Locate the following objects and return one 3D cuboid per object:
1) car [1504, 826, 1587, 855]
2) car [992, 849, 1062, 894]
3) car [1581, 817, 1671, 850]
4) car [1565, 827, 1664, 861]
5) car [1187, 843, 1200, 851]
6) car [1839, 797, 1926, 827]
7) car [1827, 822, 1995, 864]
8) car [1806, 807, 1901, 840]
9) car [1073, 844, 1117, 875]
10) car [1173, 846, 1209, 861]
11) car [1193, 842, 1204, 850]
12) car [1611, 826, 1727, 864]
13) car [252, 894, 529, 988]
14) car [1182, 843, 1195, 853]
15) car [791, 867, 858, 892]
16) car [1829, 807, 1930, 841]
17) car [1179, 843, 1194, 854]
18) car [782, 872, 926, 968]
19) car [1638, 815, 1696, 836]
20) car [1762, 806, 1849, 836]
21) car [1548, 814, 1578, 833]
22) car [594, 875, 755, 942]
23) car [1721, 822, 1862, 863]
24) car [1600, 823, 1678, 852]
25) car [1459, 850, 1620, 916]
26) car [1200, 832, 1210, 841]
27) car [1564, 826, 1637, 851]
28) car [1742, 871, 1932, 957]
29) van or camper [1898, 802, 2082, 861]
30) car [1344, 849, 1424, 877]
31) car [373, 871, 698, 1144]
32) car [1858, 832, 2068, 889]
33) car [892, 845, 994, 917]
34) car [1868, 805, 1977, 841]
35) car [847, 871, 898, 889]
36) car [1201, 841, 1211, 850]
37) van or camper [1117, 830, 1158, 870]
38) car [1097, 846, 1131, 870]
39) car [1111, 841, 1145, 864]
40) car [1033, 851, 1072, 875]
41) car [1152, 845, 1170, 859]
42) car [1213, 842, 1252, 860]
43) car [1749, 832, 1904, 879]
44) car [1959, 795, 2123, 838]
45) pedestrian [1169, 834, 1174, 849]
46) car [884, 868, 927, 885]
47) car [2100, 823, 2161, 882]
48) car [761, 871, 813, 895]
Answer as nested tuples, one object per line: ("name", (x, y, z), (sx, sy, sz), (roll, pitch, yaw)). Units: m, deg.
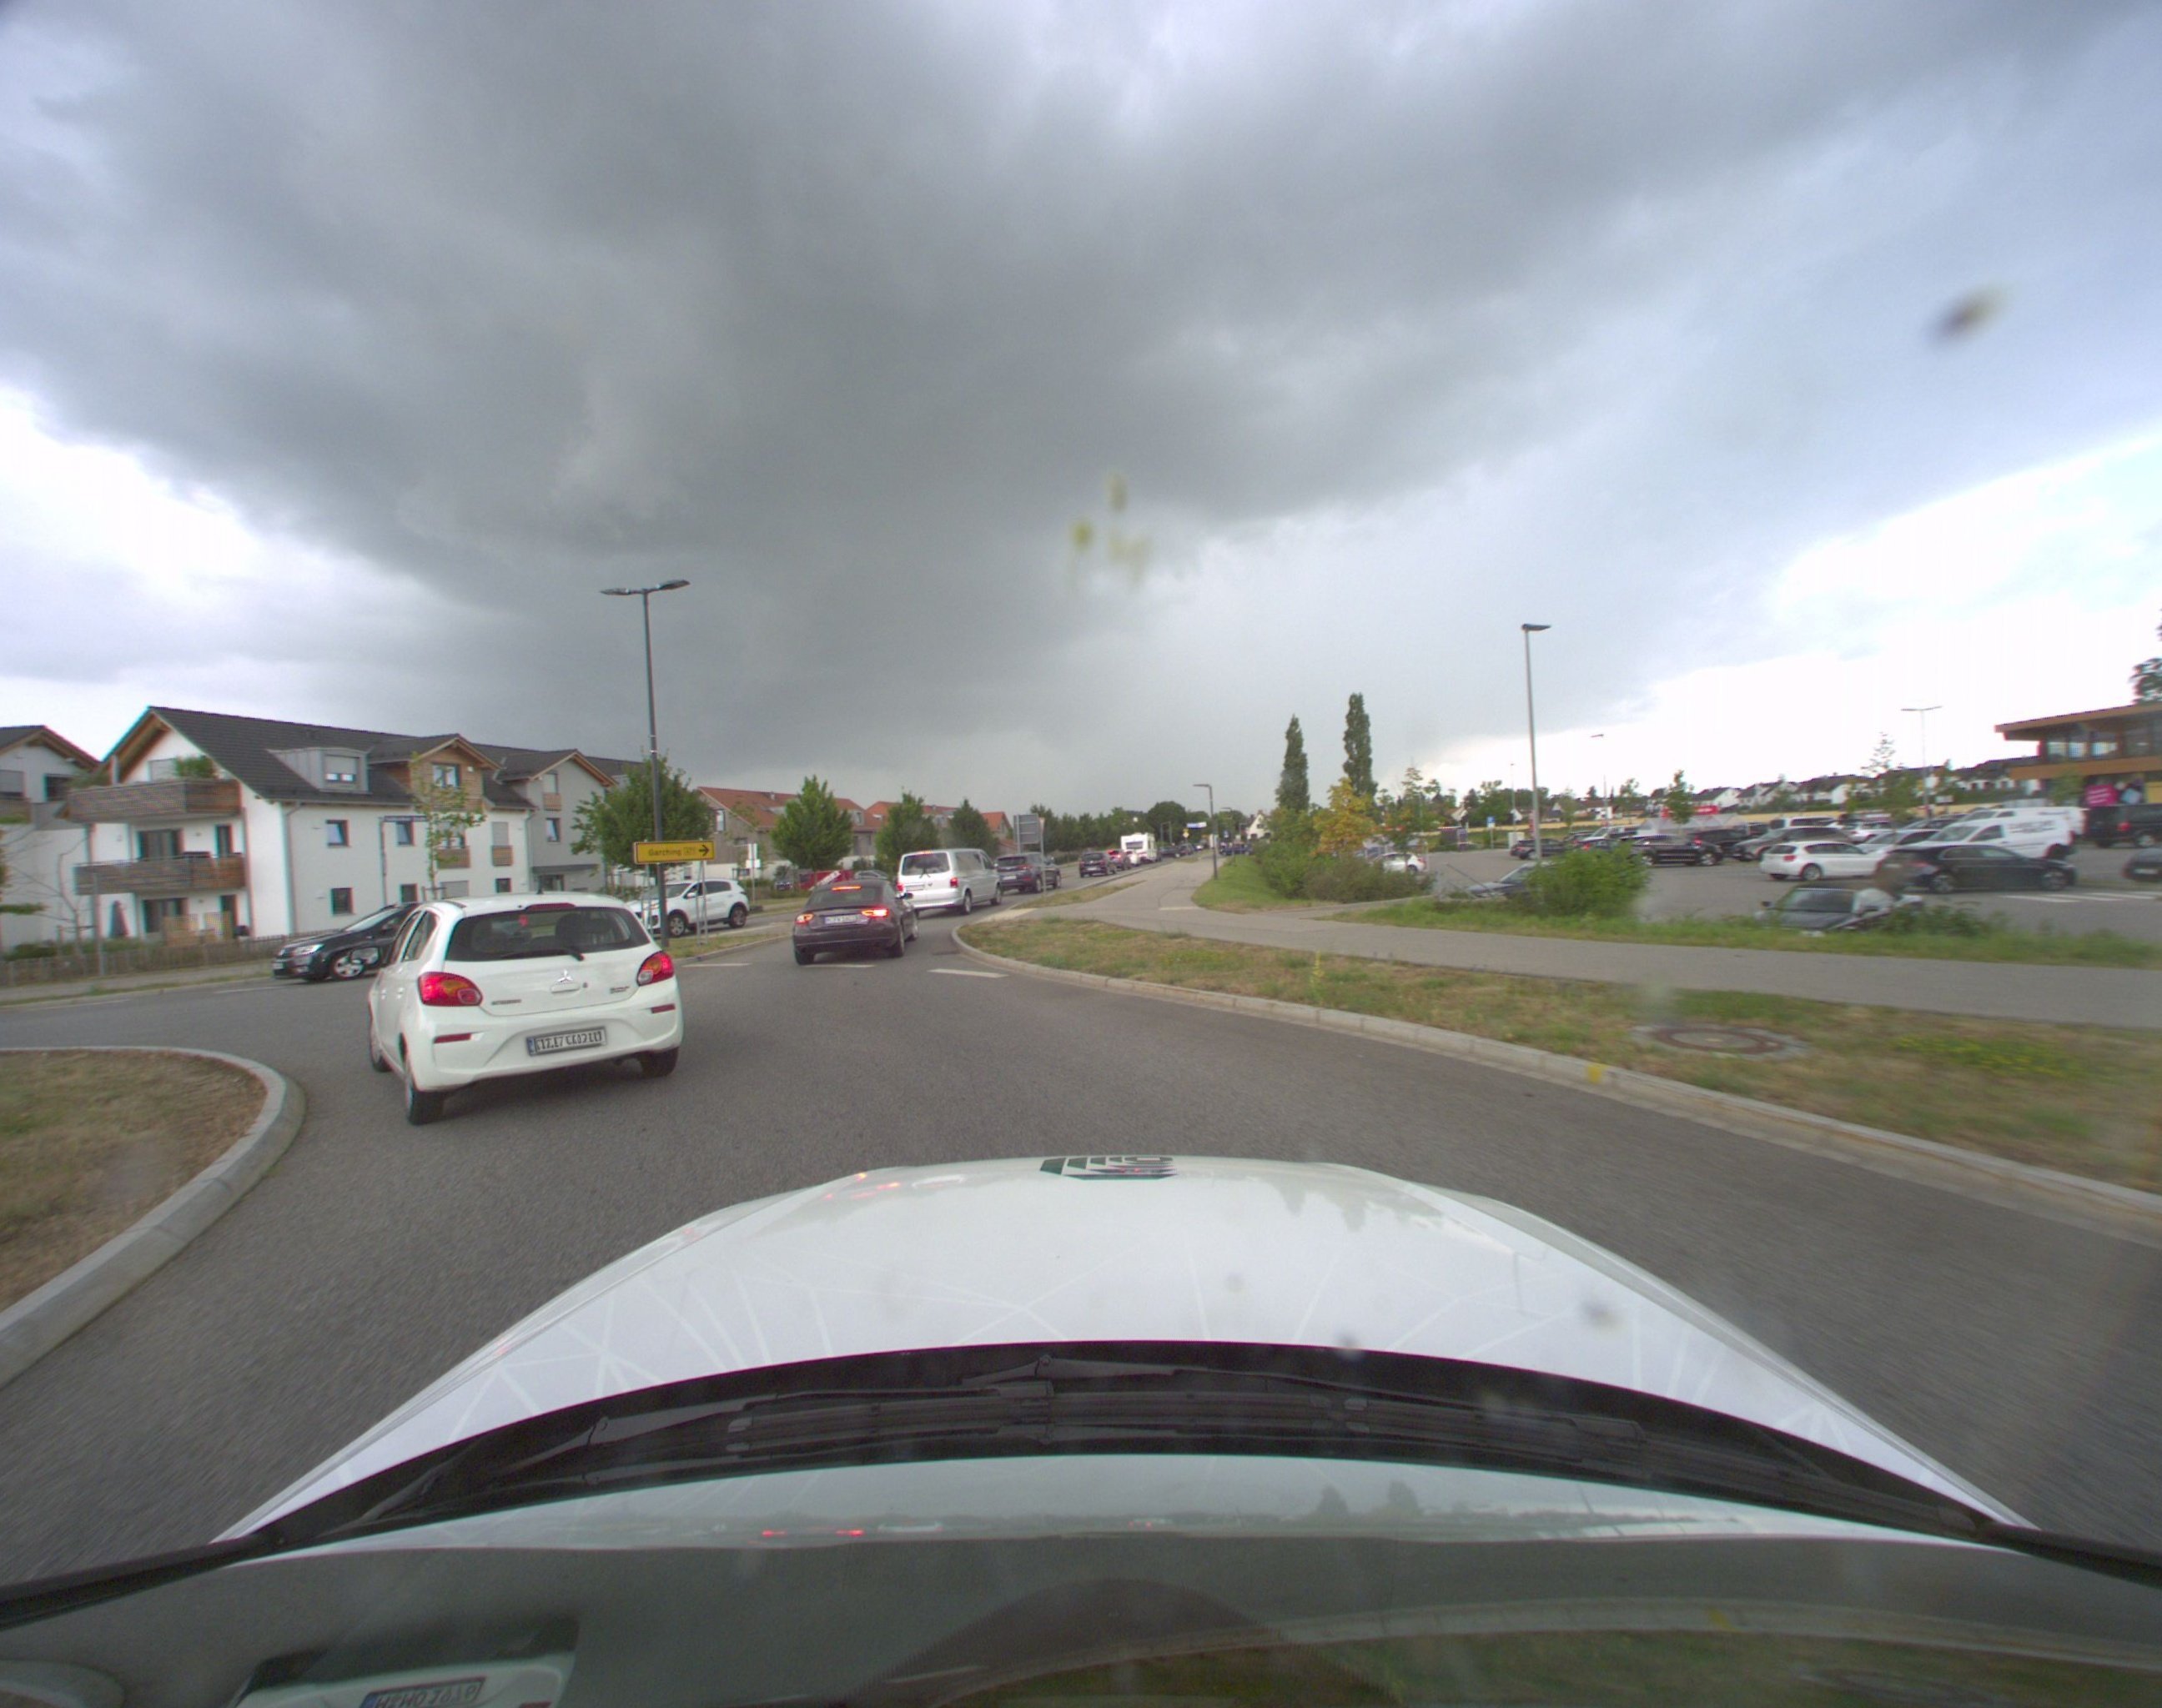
("car", (32.131, -0.917, 56.449), (4.527, 1.664, 2.006), (-3, 0, 11))
("car", (-2.165, 0.668, 33.705), (1.765, 1.618, 4.013), (-4, 0, 12))
("car", (39.301, -1.470, 58.822), (5.091, 2.013, 2.000), (-4, 1, 0))
("car", (31.098, -0.580, 47.607), (4.375, 1.664, 2.006), (-3, 0, 11))
("car", (19.474, -1.216, 140.946), (1.833, 1.436, 4.012), (-3, 0, 11))
("car", (57.716, -2.980, 58.718), (3.957, 1.840, 1.882), (-3, 0, 15))
("car", (35.163, -0.465, 34.641), (4.743, 1.484, 1.910), (-3, 0, 10))
("car", (50.540, -1.966, 53.369), (3.957, 1.838, 2.008), (-3, 0, 15))
("car", (0.893, 0.306, 47.469), (1.765, 1.618, 4.013), (-4, 0, 11))
("car", (12.597, -0.083, 93.318), (3.961, 1.618, 2.006), (-1, 1, 10))
("car", (22.943, -1.517, 159.217), (1.833, 1.436, 4.012), (-3, 0, 11))
("car", (29.928, -0.460, 41.579), (4.422, 1.706, 1.809), (-3, 0, 10))
("car", (-15.130, 1.846, 18.129), (1.751, 1.564, 4.306), (-5, -1, 30))
("car", (16.909, -1.000, 127.841), (1.833, 1.436, 4.012), (-3, 0, 11))
("car", (-19.940, 1.995, 63.446), (4.497, 1.680, 2.008), (-3, 0, 14))
("car", (49.751, -1.869, 50.821), (3.959, 1.838, 2.008), (-3, 0, 13))
("car", (15.184, -0.831, 117.527), (1.833, 1.436, 4.012), (-3, 0, 11))
("car", (-4.080, 1.114, 15.292), (1.781, 1.391, 4.125), (-3, 0, -5))
("car", (55.268, -2.700, 76.898), (3.957, 1.837, 2.008), (-1, 1, 15))
("car", (50.186, -2.267, 56.491), (3.958, 1.837, 2.008), (-3, 0, 14))
("car", (52.670, -3.316, 89.076), (1.978, 2.013, 4.019), (-1, 1, 18))
("car", (-12.024, 1.554, 24.483), (1.696, 1.626, 4.469), (-3, 0, 15))
("car", (35.396, -0.565, 40.726), (4.942, 1.664, 2.006), (-4, 0, 11))
("car", (38.051, -1.098, 55.613), (3.961, 1.706, 1.721), (-3, 0, 10))
("car", (14.091, 0.863, 25.178), (3.971, 1.606, 1.793), (-3, 5, 2))
("car", (31.732, -4.555, 208.868), (1.978, 2.211, 4.017), (-3, 0, 16))
("car", (39.166, -1.171, 61.490), (4.282, 1.578, 1.774), (-3, 0, 13))
("car", (15.225, 1.125, 16.380), (3.740, 1.372, 1.567), (-3, 0, -27))
("van or camper", (35.189, -0.829, 31.654), (4.764, 2.098, 1.769), (-1, 0, 7))
("car", (18.238, 0.535, 49.177), (4.205, 1.440, 2.006), (-3, 0, 11))
("car", (-4.528, 0.968, 6.554), (1.642, 1.519, 3.358), (-2, 0, -42))
("car", (25.998, 0.182, 24.128), (3.966, 1.398, 1.840), (-4, 0, 6))
("car", (-4.090, 0.750, 24.805), (1.857, 1.934, 4.008), (-3, 0, 7))
("car", (49.256, -1.790, 47.767), (3.957, 1.837, 2.008), (-3, 0, 15))
("car", (-18.422, 2.296, 72.070), (3.891, 1.315, 1.847), (-3, 0, 9))
("car", (27.818, -1.935, 181.072), (1.981, 1.837, 4.011), (-3, 0, 10))
("van or camper", (5.126, -0.340, 72.521), (2.608, 3.323, 6.842), (-3, 0, 11))
("car", (2.282, 0.253, 55.294), (1.766, 1.434, 3.813), (-4, 0, 10))
("car", (3.750, -0.113, 64.104), (1.980, 1.596, 4.014), (-3, 0, 13))
("car", (-1.860, 0.566, 54.719), (1.766, 1.434, 3.813), (-4, 0, 10))
("car", (11.627, -0.320, 118.381), (1.980, 2.013, 4.014), (-3, 0, 12))
("car", (17.504, -0.367, 94.004), (3.948, 1.794, 1.629), (-4, 0, 31))
("car", (27.401, 0.058, 30.050), (3.962, 1.485, 1.686), (-3, 0, 6))
("car", (48.784, -1.858, 41.501), (5.252, 1.831, 2.006), (-3, 0, 11))
("pedestrian", (12.420, -1.721, 111.765), (0.574, 2.013, 0.684), (-1, 0, 17))
("car", (-17.597, 2.271, 81.615), (3.708, 1.482, 1.690), (-3, 0, 8))
("car", (31.690, -0.118, 22.758), (3.967, 1.553, 1.735), (-3, 0, 5))
("car", (-25.996, 2.567, 72.281), (1.978, 1.772, 4.485), (-3, 0, 16))
